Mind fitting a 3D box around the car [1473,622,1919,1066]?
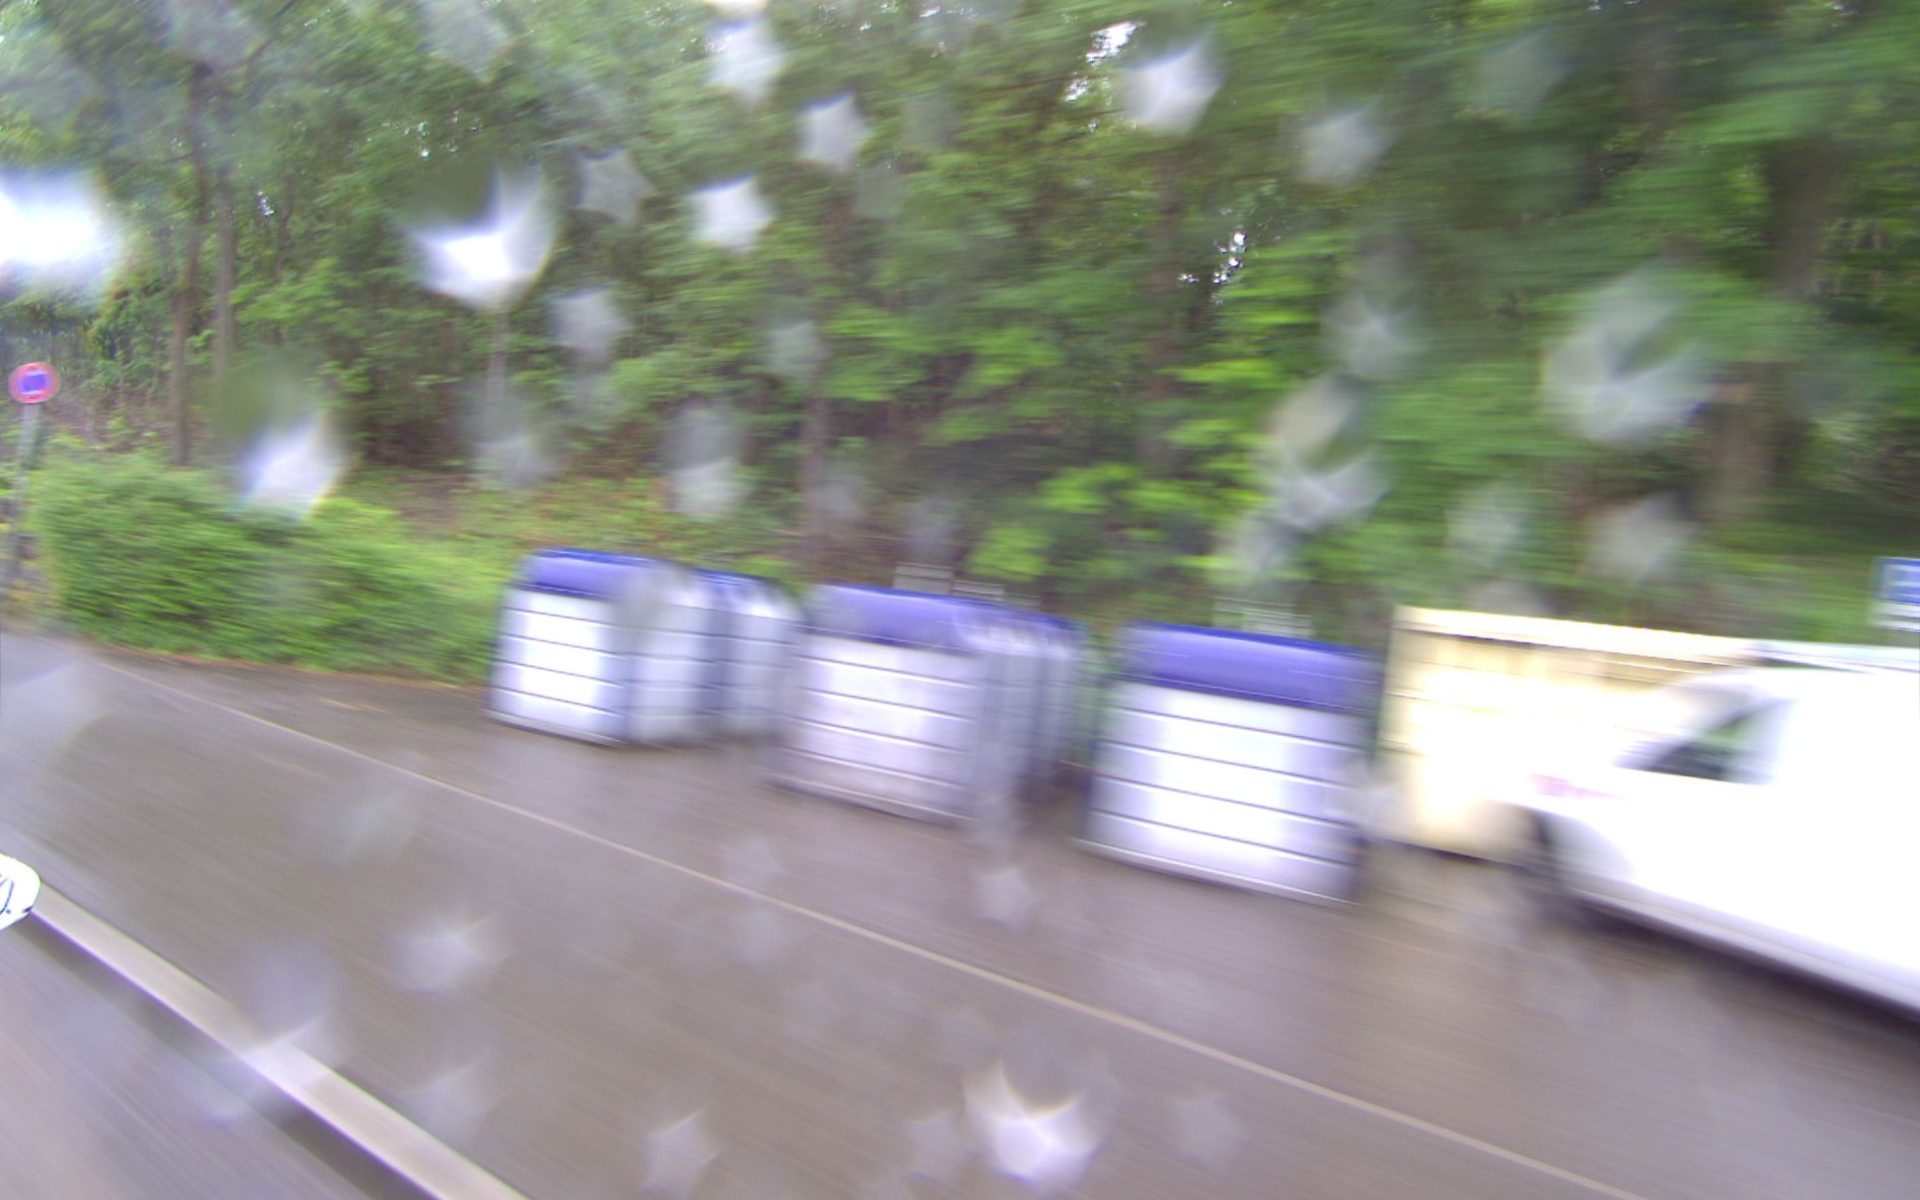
[{"bbox_3d":[5.431,1.305,5.217,2.123,1.963,4.831,8,-1,-13],"label":"car"}]
